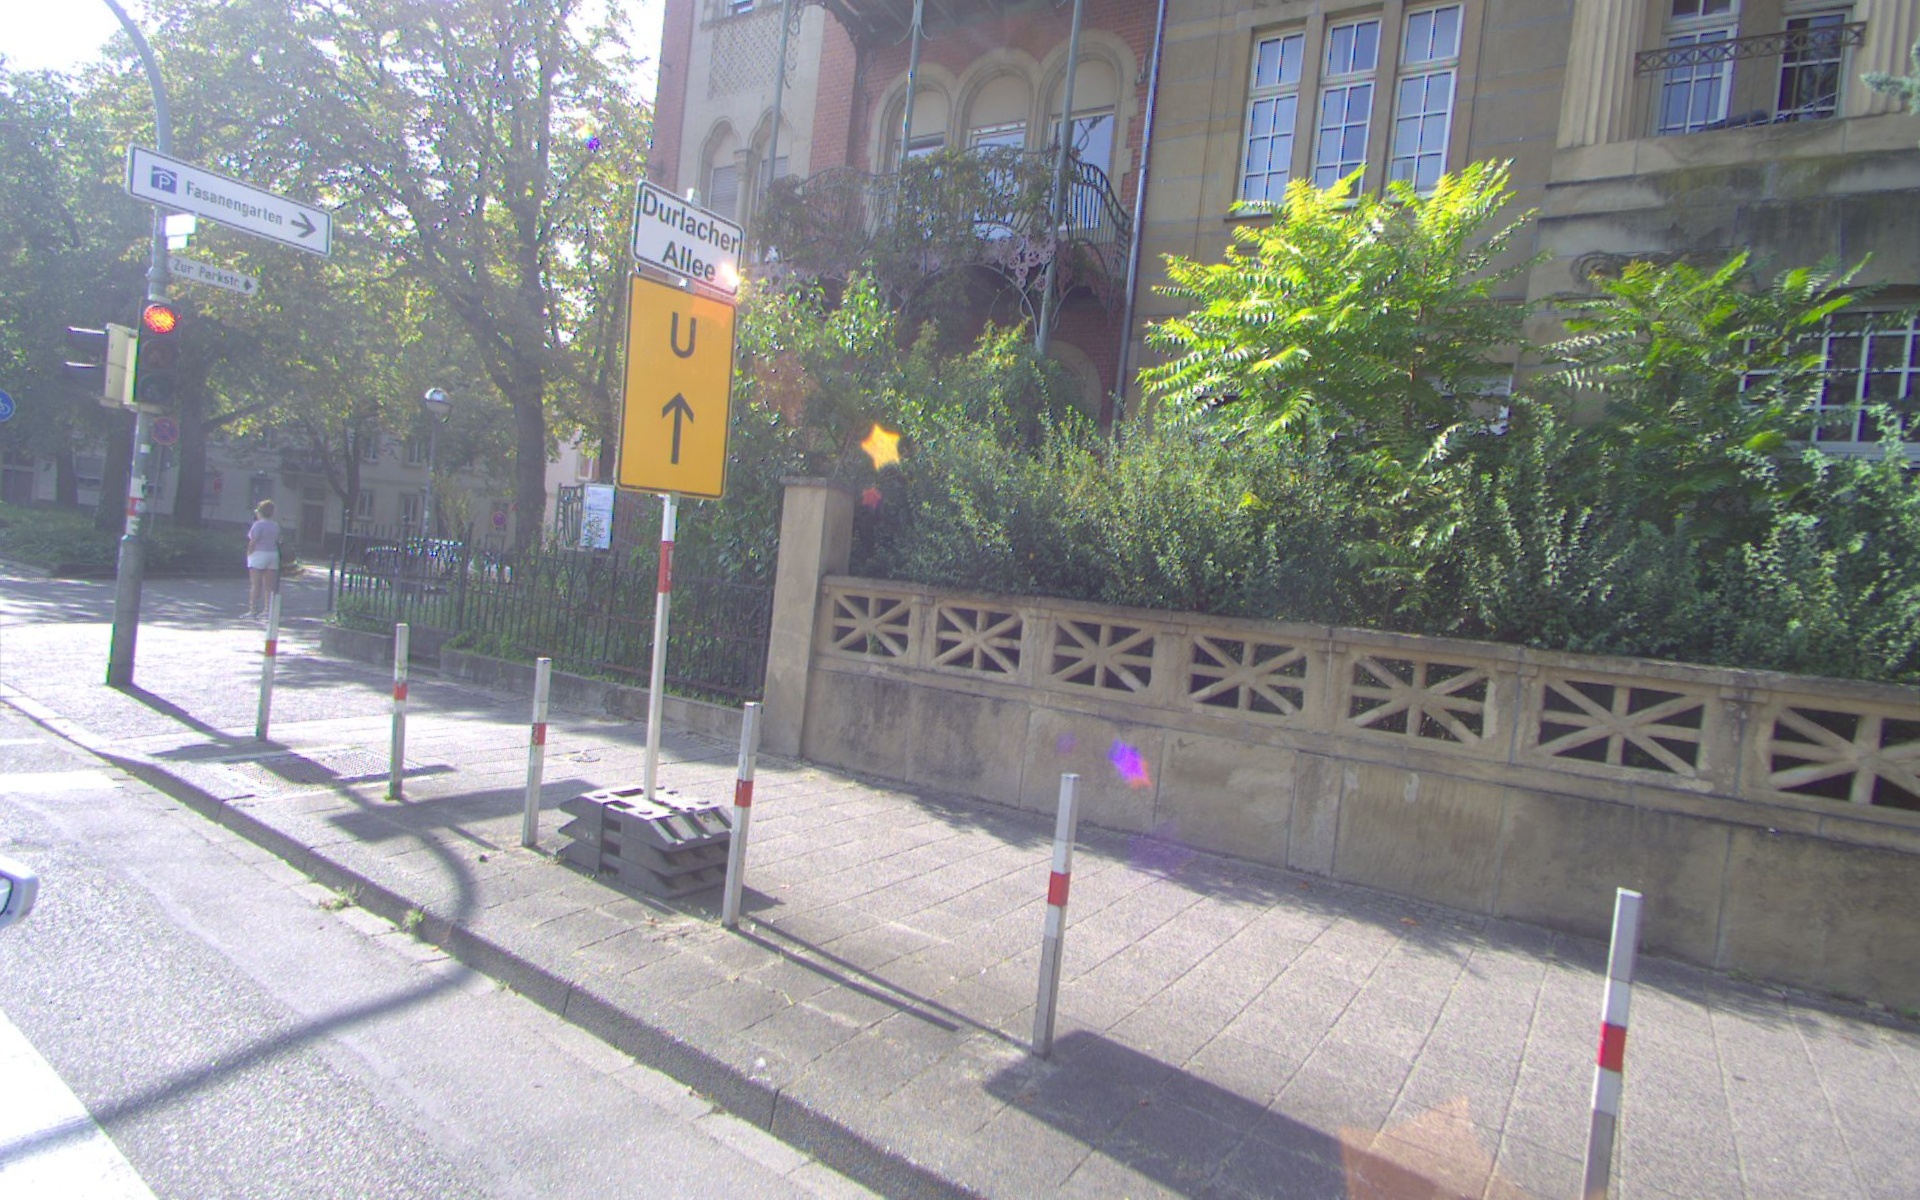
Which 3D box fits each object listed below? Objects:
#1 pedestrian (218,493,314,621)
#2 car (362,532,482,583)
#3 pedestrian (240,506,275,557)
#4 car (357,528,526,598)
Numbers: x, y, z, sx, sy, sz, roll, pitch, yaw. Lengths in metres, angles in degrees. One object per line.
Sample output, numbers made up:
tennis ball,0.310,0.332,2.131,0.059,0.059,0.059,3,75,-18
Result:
pedestrian,-10.112,-0.609,14.669,0.757,1.753,0.752,7,1,22
car,-20.523,-1.615,38.386,4.070,1.447,1.757,7,1,22
pedestrian,-25.996,-2.541,37.208,0.887,1.762,0.767,5,1,-40
car,-14.726,-0.988,28.946,1.835,1.484,4.788,9,0,6
